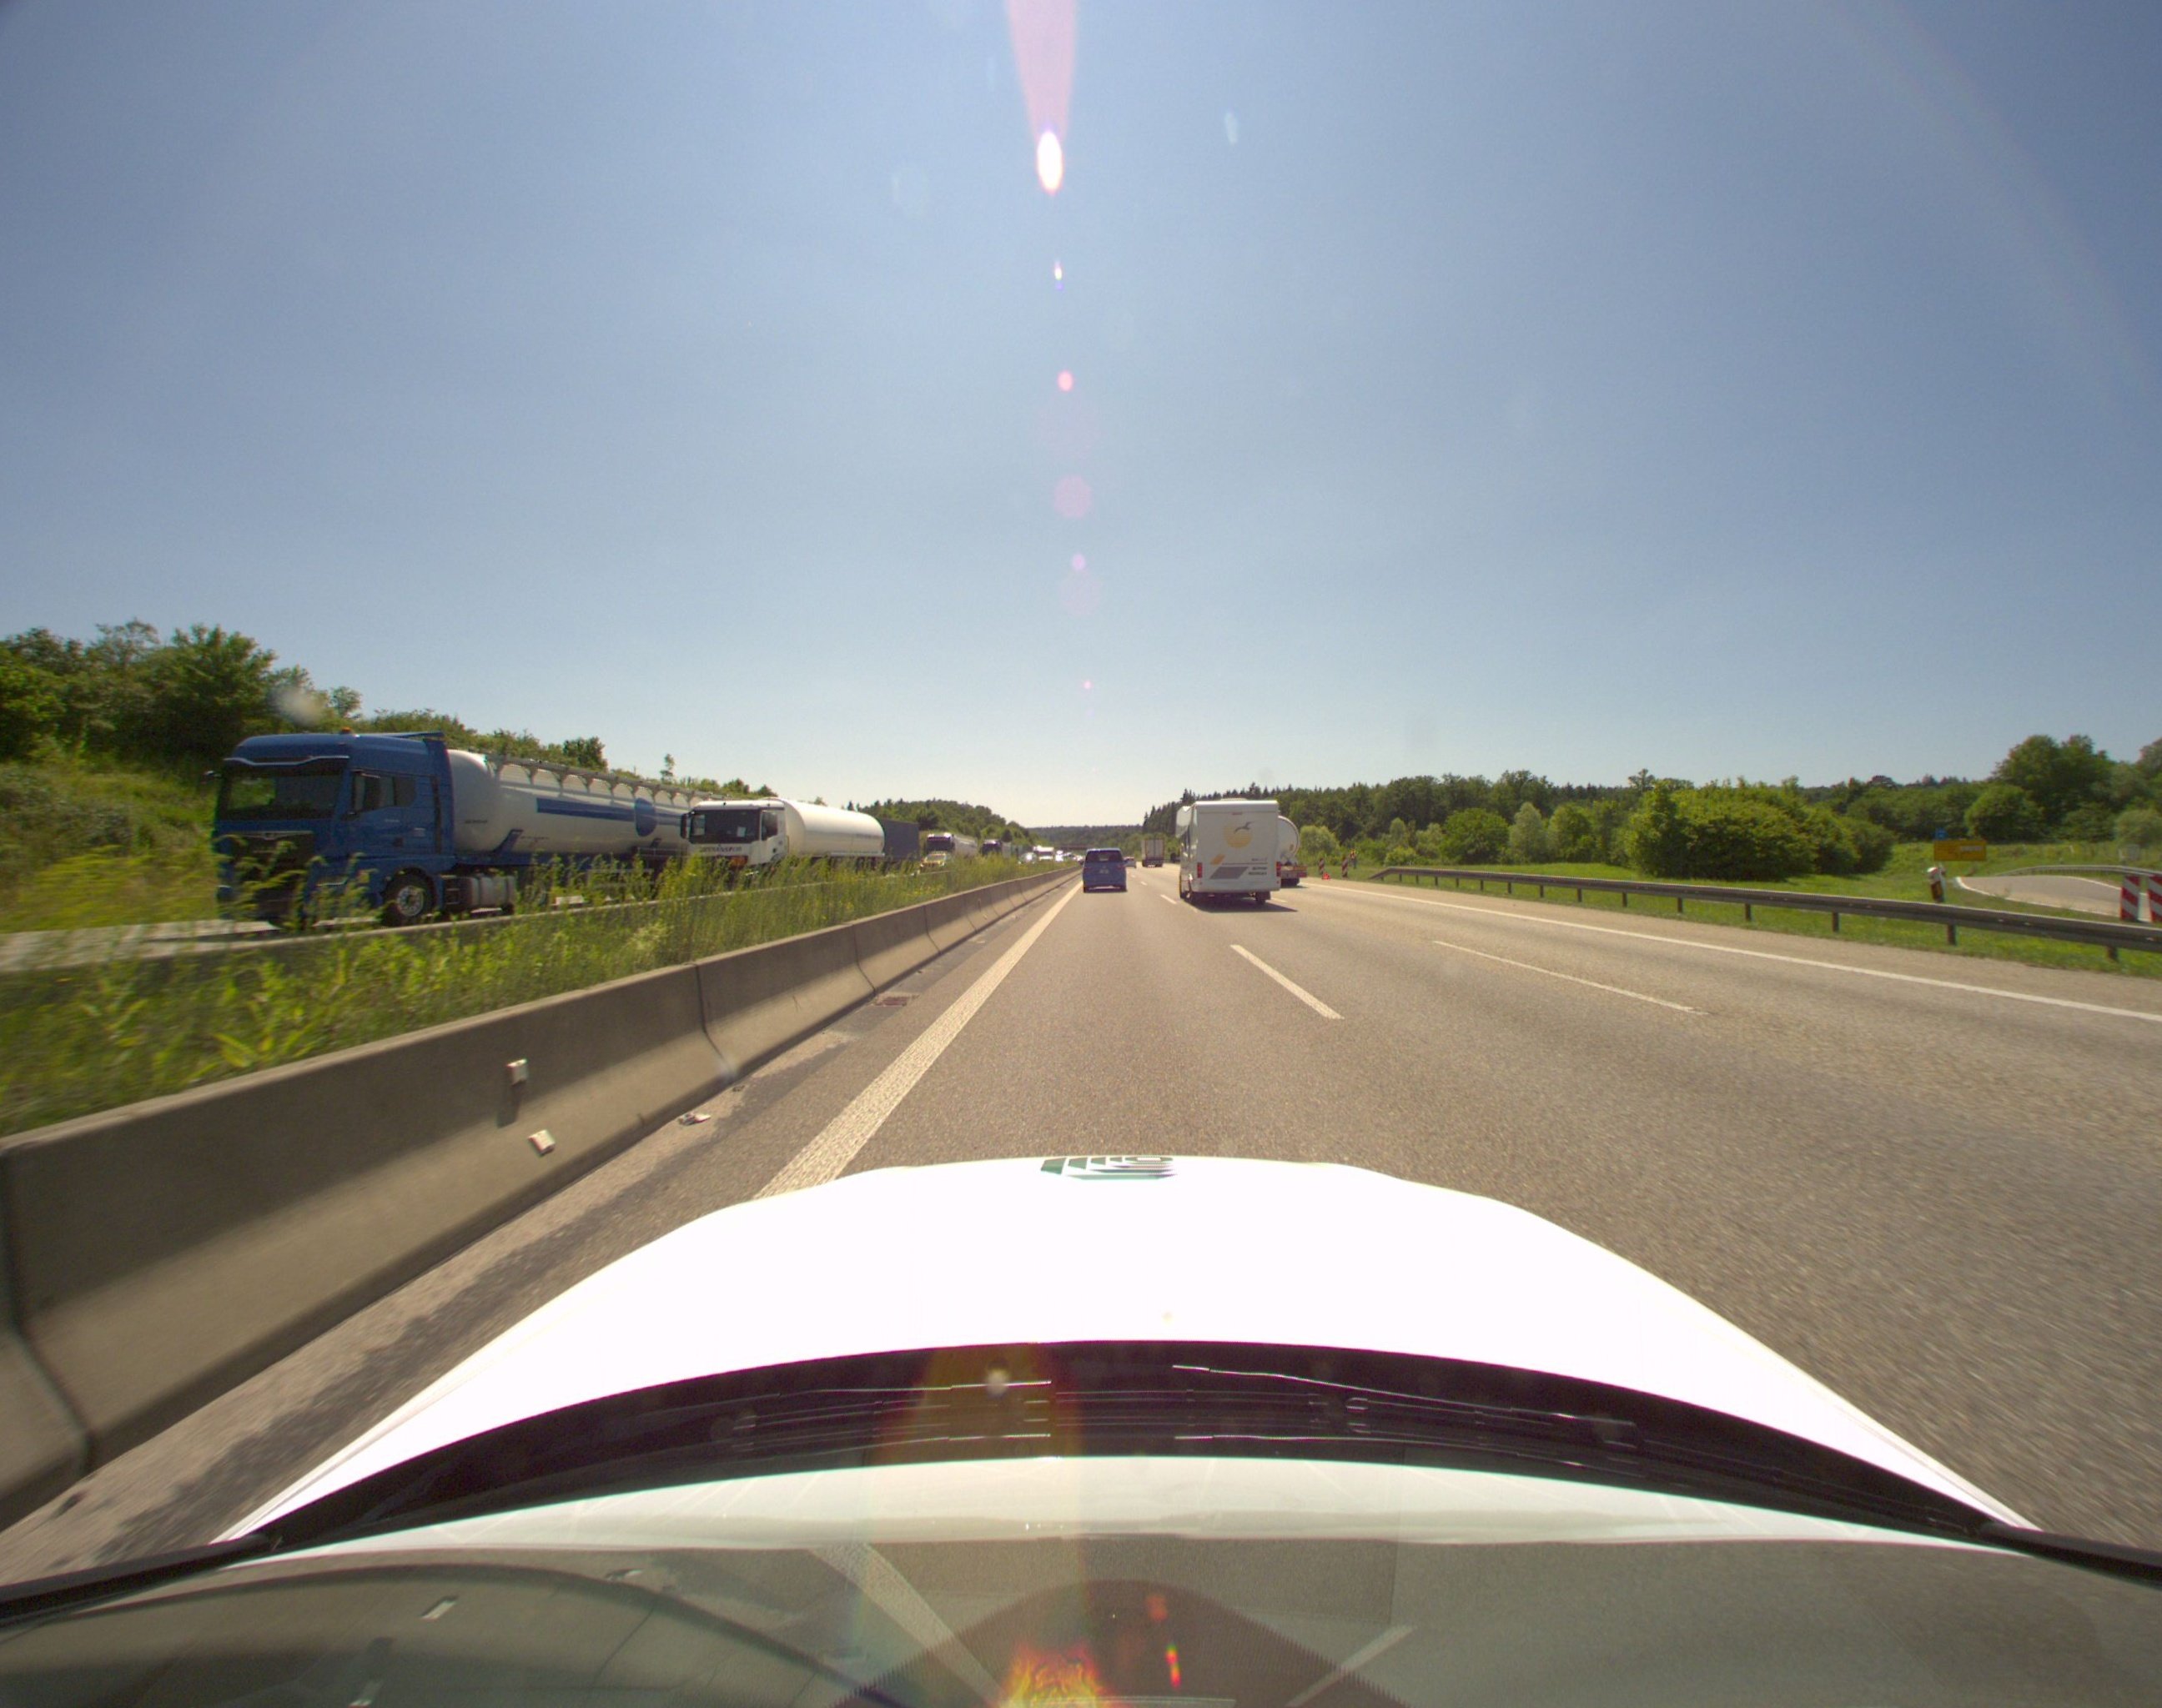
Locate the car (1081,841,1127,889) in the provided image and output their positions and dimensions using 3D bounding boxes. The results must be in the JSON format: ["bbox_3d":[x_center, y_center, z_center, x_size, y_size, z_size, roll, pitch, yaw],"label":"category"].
[{"bbox_3d":[1.032,0.474,36.390,1.902,2.014,4.001,0,-1,2],"label":"car"}]

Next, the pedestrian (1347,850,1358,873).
[{"bbox_3d":[24.153,0.661,72.502,0.685,2.080,0.928,2,-1,2],"label":"pedestrian"}]

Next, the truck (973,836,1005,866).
[{"bbox_3d":[-12.265,-0.393,109.594,3.442,3.877,5.446,2,-1,1],"label":"truck"}]

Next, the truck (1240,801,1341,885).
[{"bbox_3d":[9.752,-0.490,38.956,2.916,3.575,8.530,0,0,2],"label":"truck"}]

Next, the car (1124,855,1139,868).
[{"bbox_3d":[6.849,1.020,111.088,1.811,1.794,3.895,2,-1,2],"label":"car"}]

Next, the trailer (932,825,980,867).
[{"bbox_3d":[-12.862,-0.657,85.174,2.670,3.950,13.245,2,-1,1],"label":"trailer"}]

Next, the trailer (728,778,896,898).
[{"bbox_3d":[-10.344,-0.467,33.124,2.670,3.950,11.646,-2,-1,1],"label":"trailer"}]

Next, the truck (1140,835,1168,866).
[{"bbox_3d":[10.414,-0.412,117.259,3.474,4.170,8.644,2,-1,2],"label":"truck"}]

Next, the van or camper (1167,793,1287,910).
[{"bbox_3d":[4.308,-0.079,25.501,2.593,3.078,7.184,-2,0,2],"label":"van or camper"}]

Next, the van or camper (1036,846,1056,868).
[{"bbox_3d":[-4.623,0.440,109.003,1.986,2.877,7.645,2,-1,2],"label":"van or camper"}]

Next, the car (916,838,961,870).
[{"bbox_3d":[-9.785,0.048,56.315,2.078,2.063,5.060,1,-1,2],"label":"car"}]

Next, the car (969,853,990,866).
[{"bbox_3d":[-12.338,0.711,99.202,1.789,1.538,4.586,-2,-1,2],"label":"car"}]

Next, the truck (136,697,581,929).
[{"bbox_3d":[-14.908,-0.698,17.830,3.477,4.037,6.645,2,-1,1],"label":"truck"}]

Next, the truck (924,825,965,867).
[{"bbox_3d":[-13.017,-0.717,78.098,2.682,3.879,6.319,0,-1,2],"label":"truck"}]

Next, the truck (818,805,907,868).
[{"bbox_3d":[-14.437,-1.050,54.573,3.496,3.910,8.148,0,-1,2],"label":"truck"}]

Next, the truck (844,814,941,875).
[{"bbox_3d":[-14.170,-0.623,63.095,3.565,4.093,15.011,-1,0,2],"label":"truck"}]

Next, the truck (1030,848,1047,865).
[{"bbox_3d":[-9.953,0.726,193.216,2.981,3.803,12.163,2,-1,1],"label":"truck"}]

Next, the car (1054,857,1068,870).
[{"bbox_3d":[-3.239,1.527,133.461,1.986,2.014,5.166,2,-1,2],"label":"car"}]

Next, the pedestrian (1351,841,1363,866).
[{"bbox_3d":[23.621,-0.046,69.755,0.685,2.080,0.928,2,-1,2],"label":"pedestrian"}]

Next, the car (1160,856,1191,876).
[{"bbox_3d":[6.988,0.881,60.456,1.902,1.475,4.001,0,-1,2],"label":"car"}]

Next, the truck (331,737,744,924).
[{"bbox_3d":[-14.710,-0.506,24.413,3.565,4.093,12.584,-1,0,2],"label":"truck"}]

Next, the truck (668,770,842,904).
[{"bbox_3d":[-10.512,-0.443,27.233,2.608,3.890,7.405,0,-1,2],"label":"truck"}]
